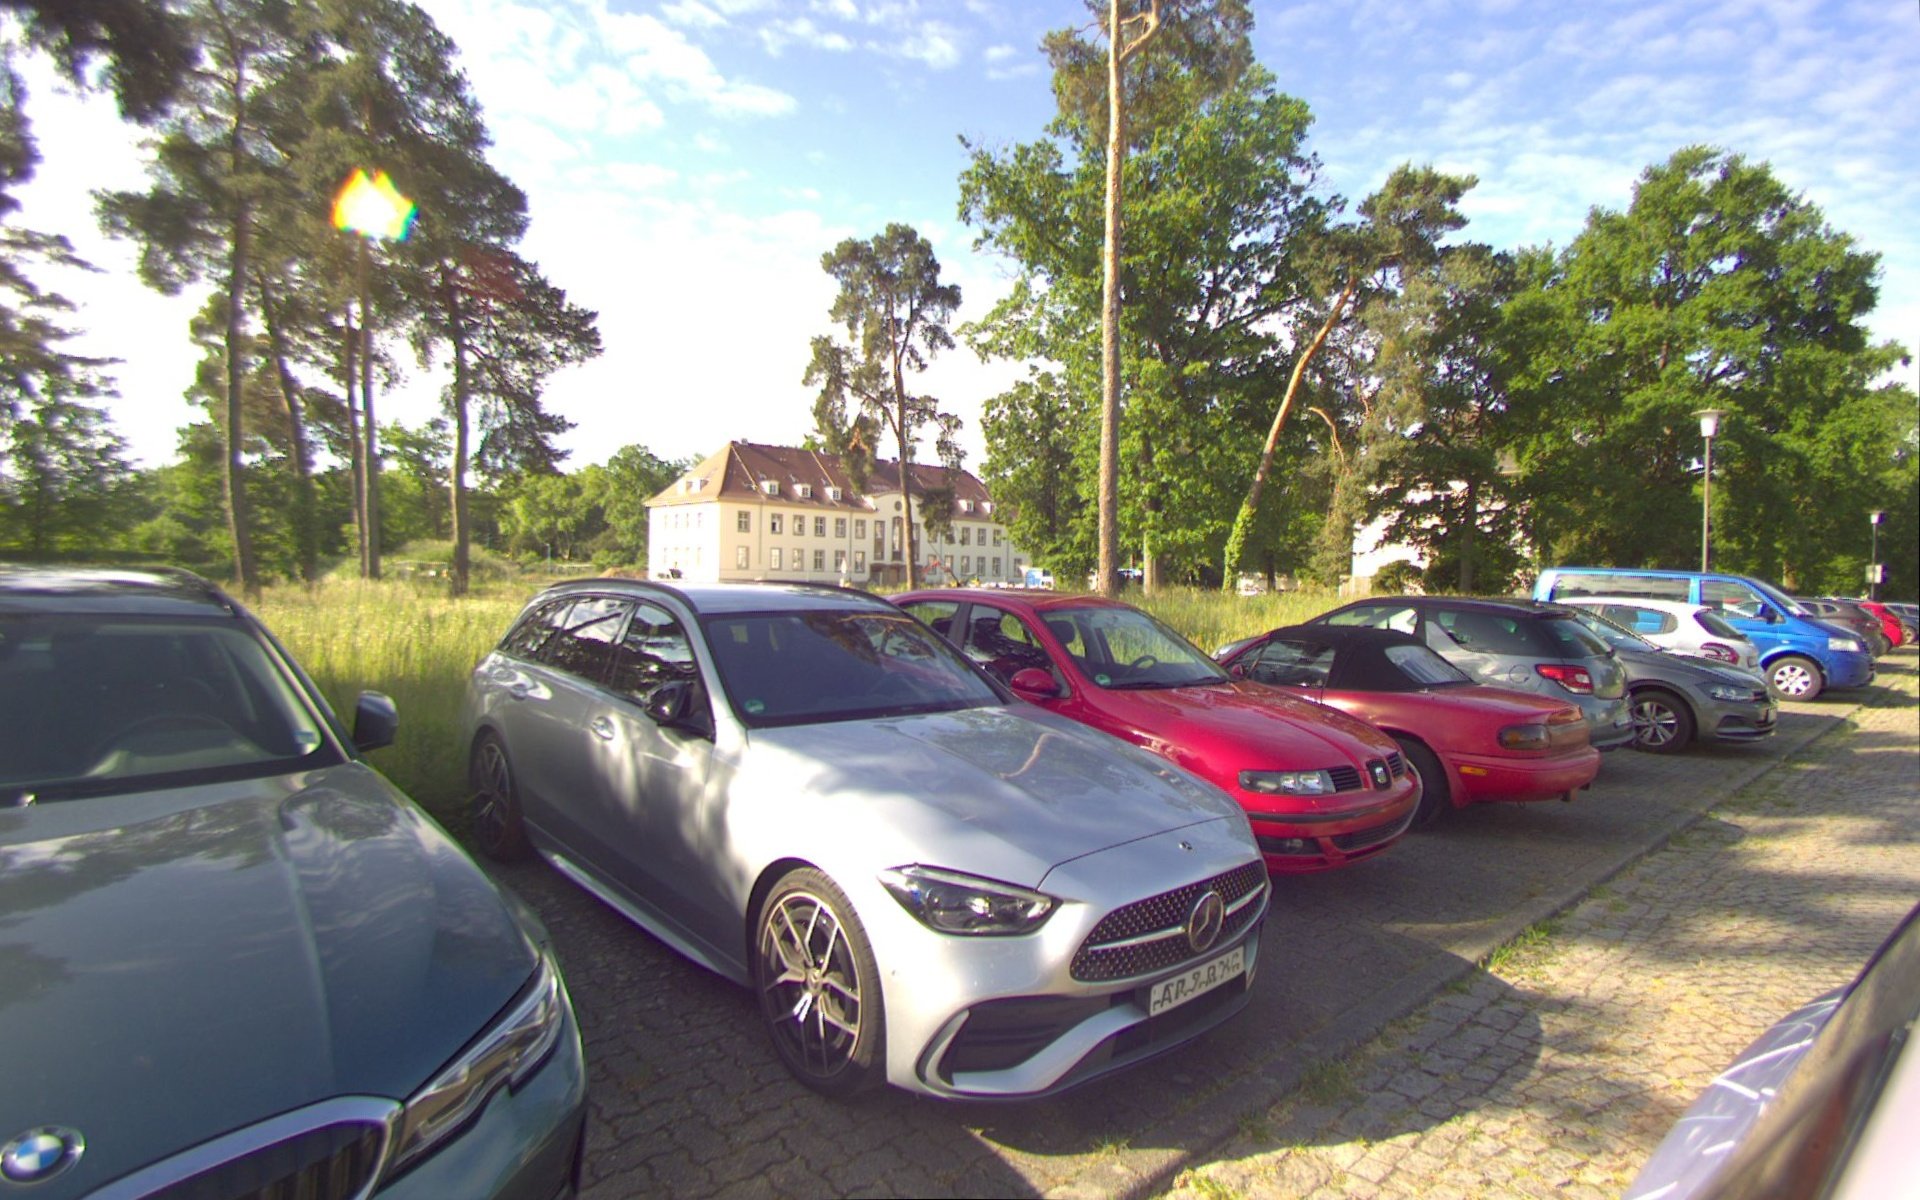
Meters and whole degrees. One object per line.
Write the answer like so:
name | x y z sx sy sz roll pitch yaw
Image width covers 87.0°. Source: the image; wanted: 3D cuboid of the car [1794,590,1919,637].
car | 33.356 0.462 36.969 1.623 1.618 4.267 0 1 -43

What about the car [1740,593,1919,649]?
car | 25.879 0.568 30.156 1.514 1.514 3.991 0 1 -43

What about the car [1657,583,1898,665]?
car | 18.654 0.477 23.212 1.757 1.631 4.111 0 2 -44

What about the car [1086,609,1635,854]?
car | 2.743 0.750 7.466 1.510 1.258 3.465 0 1 -42

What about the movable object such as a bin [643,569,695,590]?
movable object such as a bin | -29.324 -2.073 101.779 5.707 2.038 2.095 2 2 38

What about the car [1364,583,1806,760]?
car | 6.716 0.629 11.180 1.727 1.468 3.788 0 3 -41

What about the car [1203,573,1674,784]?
car | 4.360 0.559 9.622 1.638 1.472 3.669 0 3 -43

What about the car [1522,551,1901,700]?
car | 12.434 0.284 17.026 1.966 2.038 4.762 0 3 -42

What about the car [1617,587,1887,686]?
car | 14.470 0.586 18.622 1.584 1.485 3.723 0 3 -45

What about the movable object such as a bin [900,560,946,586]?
movable object such as a bin | -4.280 -3.120 118.528 4.978 2.937 2.180 0 1 -36

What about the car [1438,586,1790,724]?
car | 8.577 0.607 13.492 1.606 1.510 3.650 0 2 -42

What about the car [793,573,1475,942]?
car | 0.774 0.621 6.273 1.628 1.466 3.984 0 2 -43

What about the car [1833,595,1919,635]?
car | 37.053 0.565 39.911 1.717 1.484 3.806 0 1 -42

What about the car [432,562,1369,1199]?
car | -0.730 0.601 4.542 1.759 1.405 4.404 0 3 -44

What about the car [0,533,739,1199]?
car | -2.691 0.589 2.838 1.840 1.473 4.624 0 4 -45
